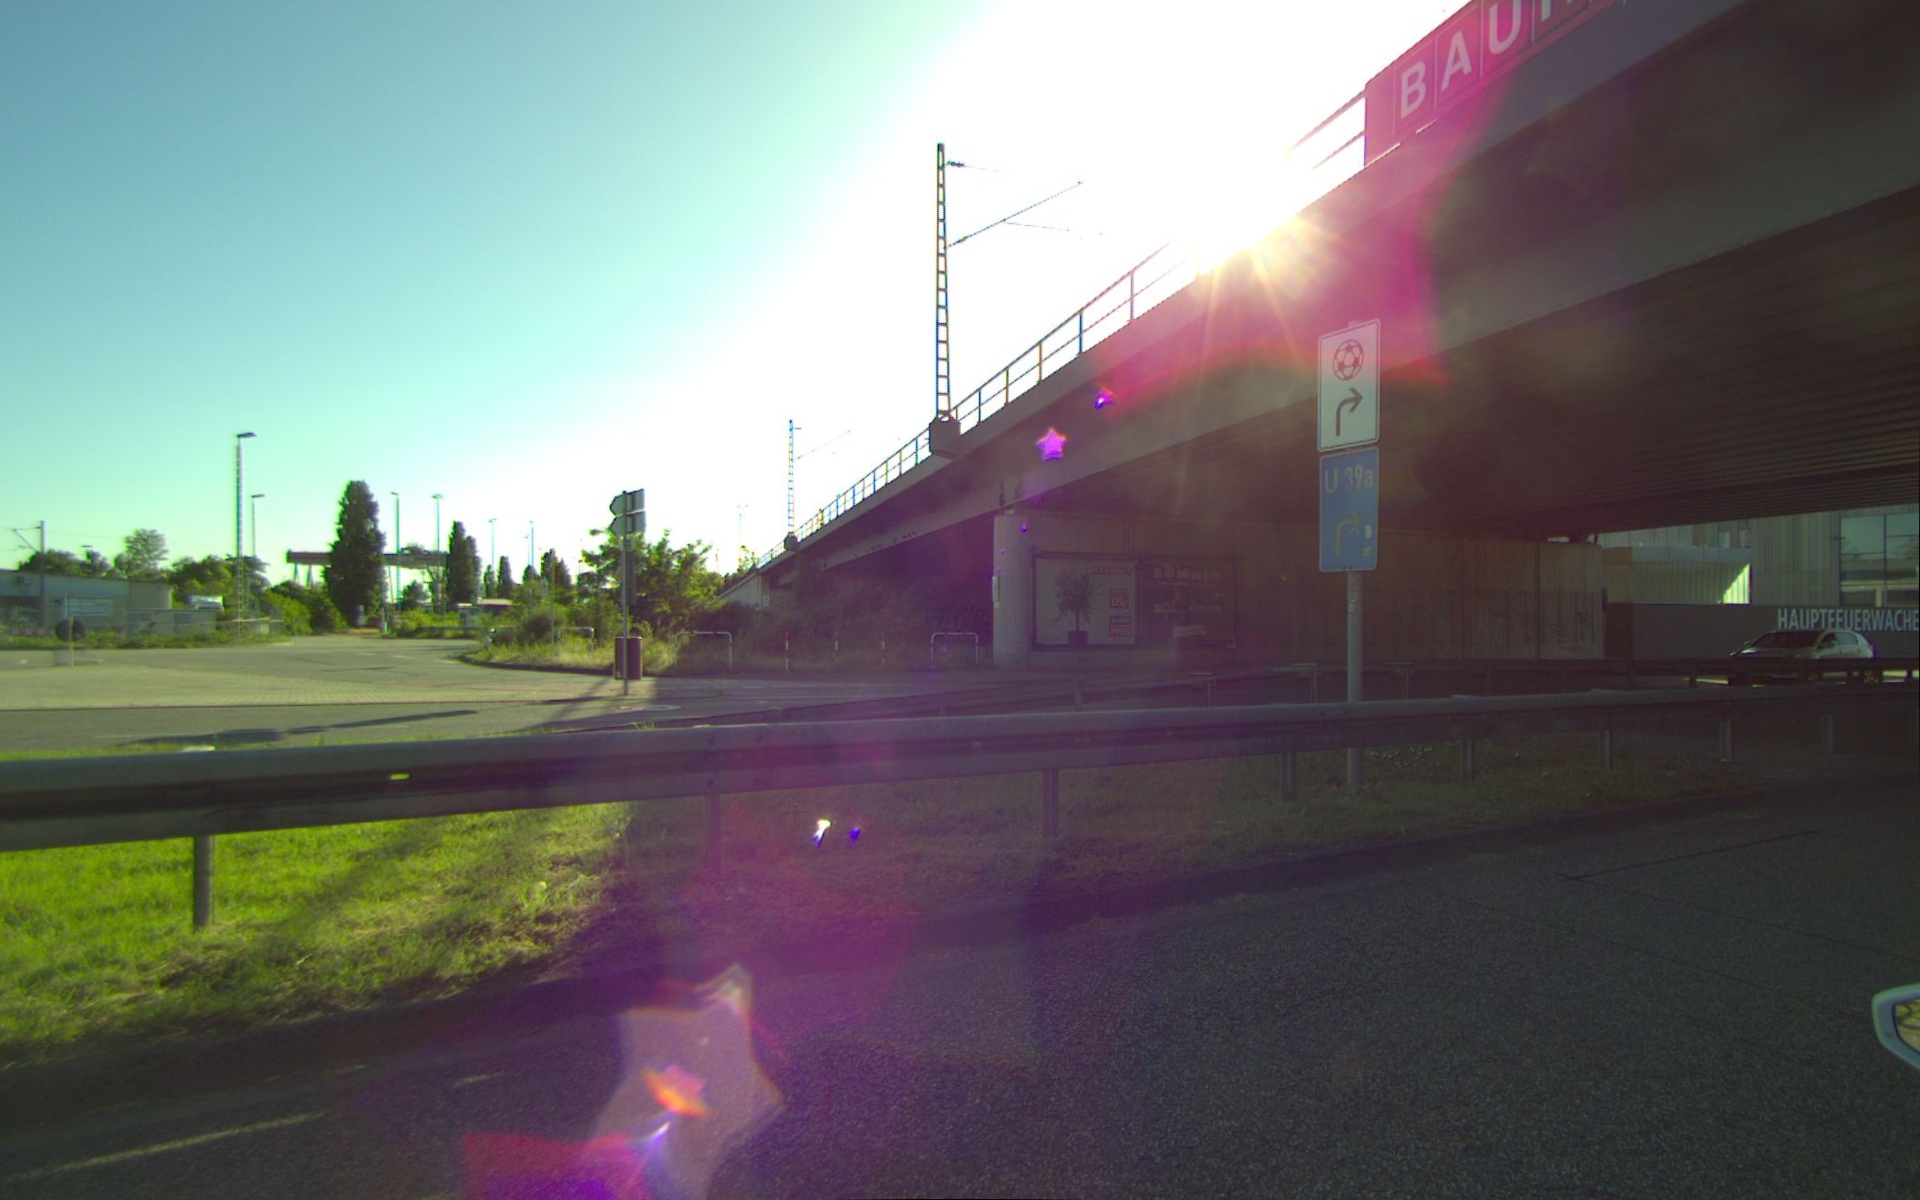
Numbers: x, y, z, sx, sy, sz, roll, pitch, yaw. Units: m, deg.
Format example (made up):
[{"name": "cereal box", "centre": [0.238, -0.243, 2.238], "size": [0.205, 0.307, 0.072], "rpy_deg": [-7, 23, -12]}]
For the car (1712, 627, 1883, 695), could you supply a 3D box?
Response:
[{"name": "car", "centre": [22.243, 1.601, 26.688], "size": [4.141, 1.667, 1.779], "rpy_deg": [2, -1, -23]}]
